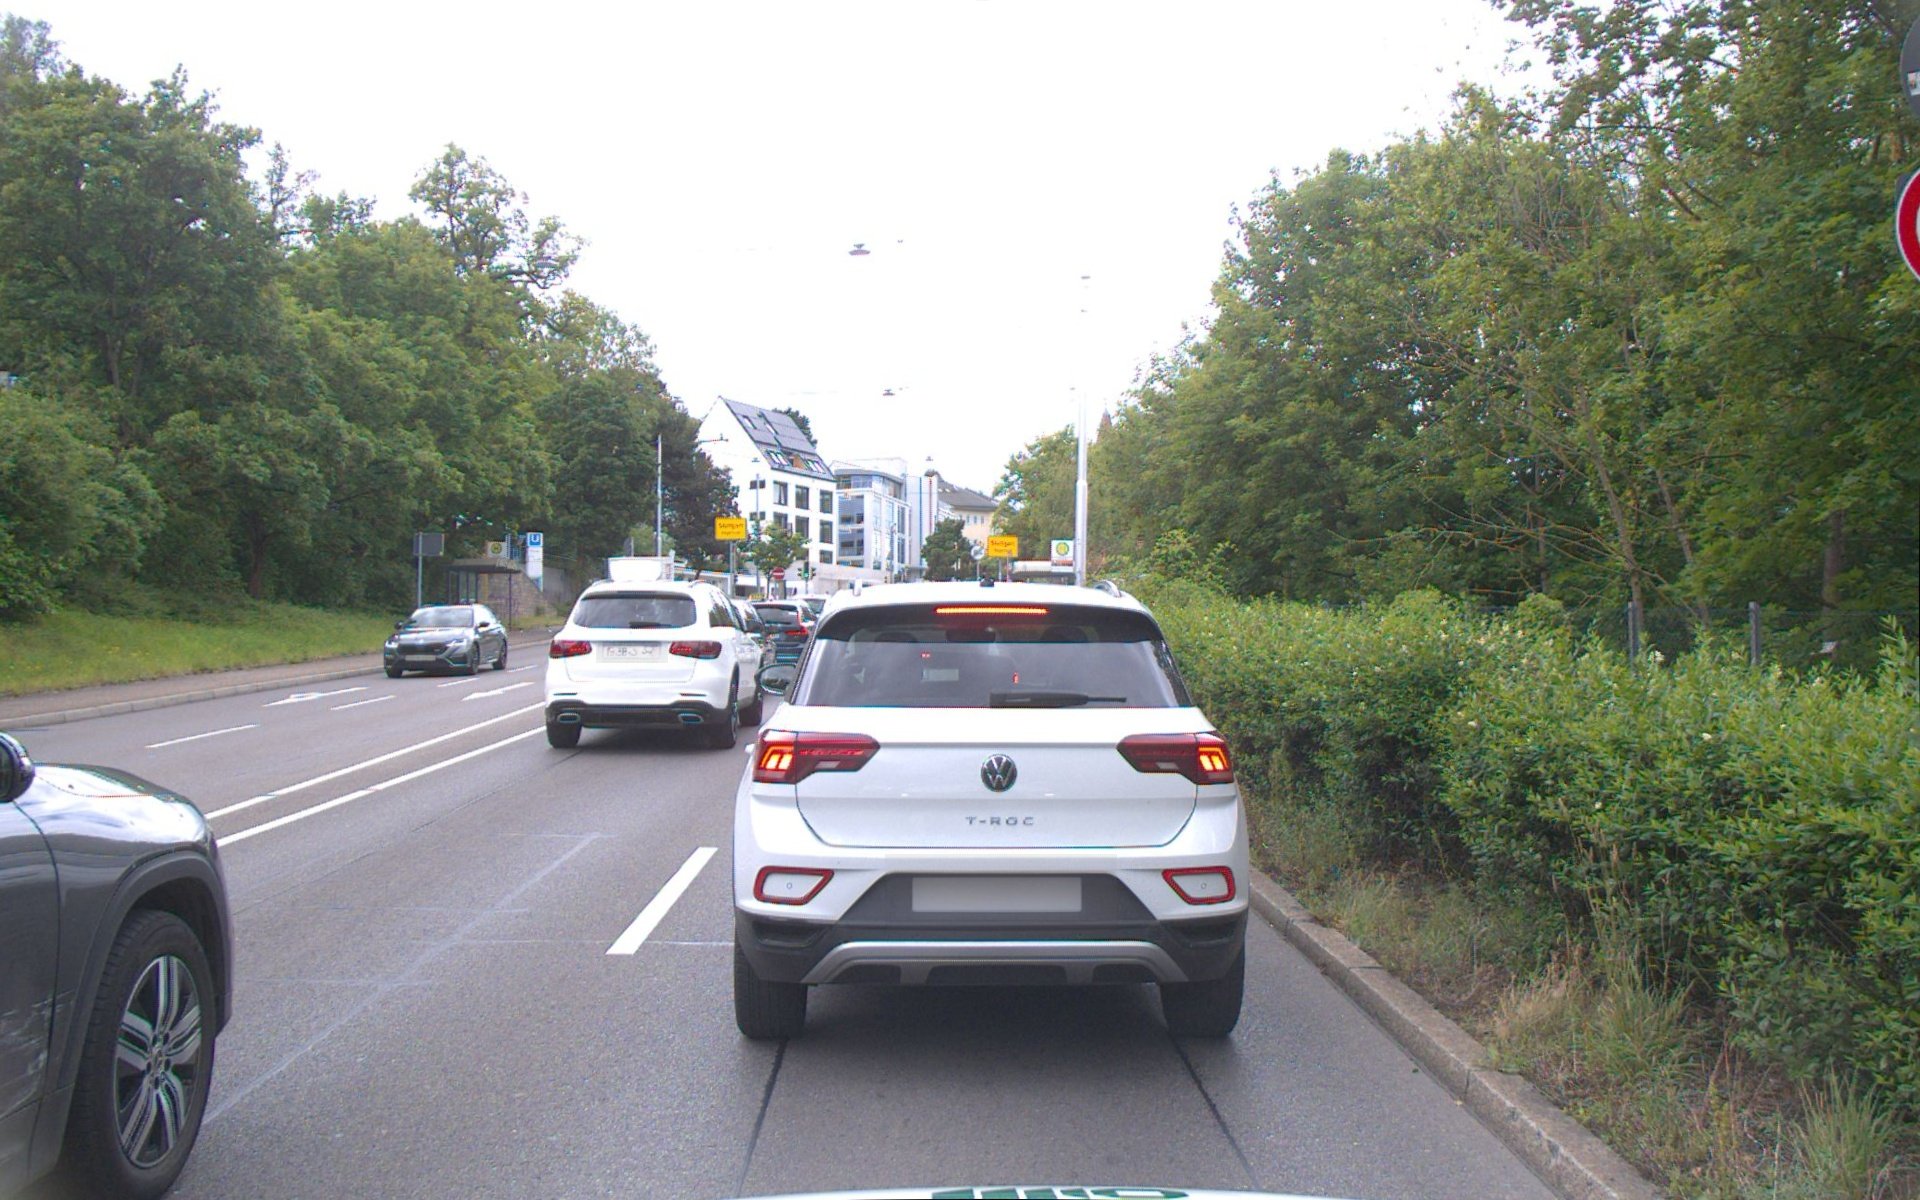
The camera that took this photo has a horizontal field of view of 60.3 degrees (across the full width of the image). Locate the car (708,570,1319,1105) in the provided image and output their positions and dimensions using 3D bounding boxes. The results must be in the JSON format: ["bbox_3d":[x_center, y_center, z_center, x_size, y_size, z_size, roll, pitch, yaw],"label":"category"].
[{"bbox_3d":[0.107,0.686,6.852,1.792,1.552,3.999,0,0,-2],"label":"car"}]

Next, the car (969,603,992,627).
[{"bbox_3d":[1.759,1.310,145.851,1.953,2.049,3.999,-1,-1,0],"label":"car"}]

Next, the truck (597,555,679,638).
[{"bbox_3d":[-12.847,-0.111,66.449,2.247,3.104,6.975,-1,0,-3],"label":"truck"}]

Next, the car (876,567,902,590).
[{"bbox_3d":[-4.994,-1.515,116.566,1.792,1.552,3.999,-1,0,-2],"label":"car"}]

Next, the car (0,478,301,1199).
[{"bbox_3d":[-2.652,0.614,2.376,1.812,1.680,4.355,0,0,-2],"label":"car"}]

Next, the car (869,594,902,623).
[{"bbox_3d":[-4.227,0.473,94.229,1.792,1.552,3.999,-1,0,-2],"label":"car"}]

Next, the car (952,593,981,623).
[{"bbox_3d":[0.415,0.536,115.807,1.953,2.049,3.999,-1,0,-1],"label":"car"}]

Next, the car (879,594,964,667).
[{"bbox_3d":[-0.887,0.650,37.451,1.792,1.552,3.999,-1,0,-2],"label":"car"}]

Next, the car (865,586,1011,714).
[{"bbox_3d":[-0.324,0.614,22.489,1.792,1.552,3.999,-1,0,-2],"label":"car"}]

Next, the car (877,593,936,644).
[{"bbox_3d":[-1.706,0.558,52.994,1.792,1.552,3.999,-1,0,-2],"label":"car"}]

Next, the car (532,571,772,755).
[{"bbox_3d":[-3.105,0.588,17.467,1.879,1.698,3.999,1,0,-2],"label":"car"}]

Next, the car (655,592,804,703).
[{"bbox_3d":[-3.416,0.653,25.144,1.792,1.523,3.999,-1,0,-2],"label":"car"}]

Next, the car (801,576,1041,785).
[{"bbox_3d":[-0.351,0.603,14.515,1.792,1.552,3.999,-1,0,-2],"label":"car"}]

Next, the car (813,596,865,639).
[{"bbox_3d":[-4.567,0.636,62.777,1.792,1.552,3.999,-1,0,-2],"label":"car"}]

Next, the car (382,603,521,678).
[{"bbox_3d":[-10.615,0.800,34.821,1.645,1.420,4.359,-1,0,-2],"label":"car"}]

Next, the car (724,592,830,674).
[{"bbox_3d":[-3.670,0.628,33.735,1.792,1.552,3.999,-1,0,-2],"label":"car"}]

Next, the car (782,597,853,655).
[{"bbox_3d":[-4.026,0.706,47.208,1.792,1.552,3.999,-1,0,-2],"label":"car"}]

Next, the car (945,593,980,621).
[{"bbox_3d":[0.115,0.375,92.750,1.792,1.552,3.999,-1,0,-2],"label":"car"}]

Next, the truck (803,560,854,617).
[{"bbox_3d":[-6.742,-0.587,85.269,2.315,2.830,4.476,-1,0,-2],"label":"truck"}]

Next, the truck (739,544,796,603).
[{"bbox_3d":[-9.345,-1.260,80.652,2.315,2.754,4.476,-1,0,-2],"label":"truck"}]
